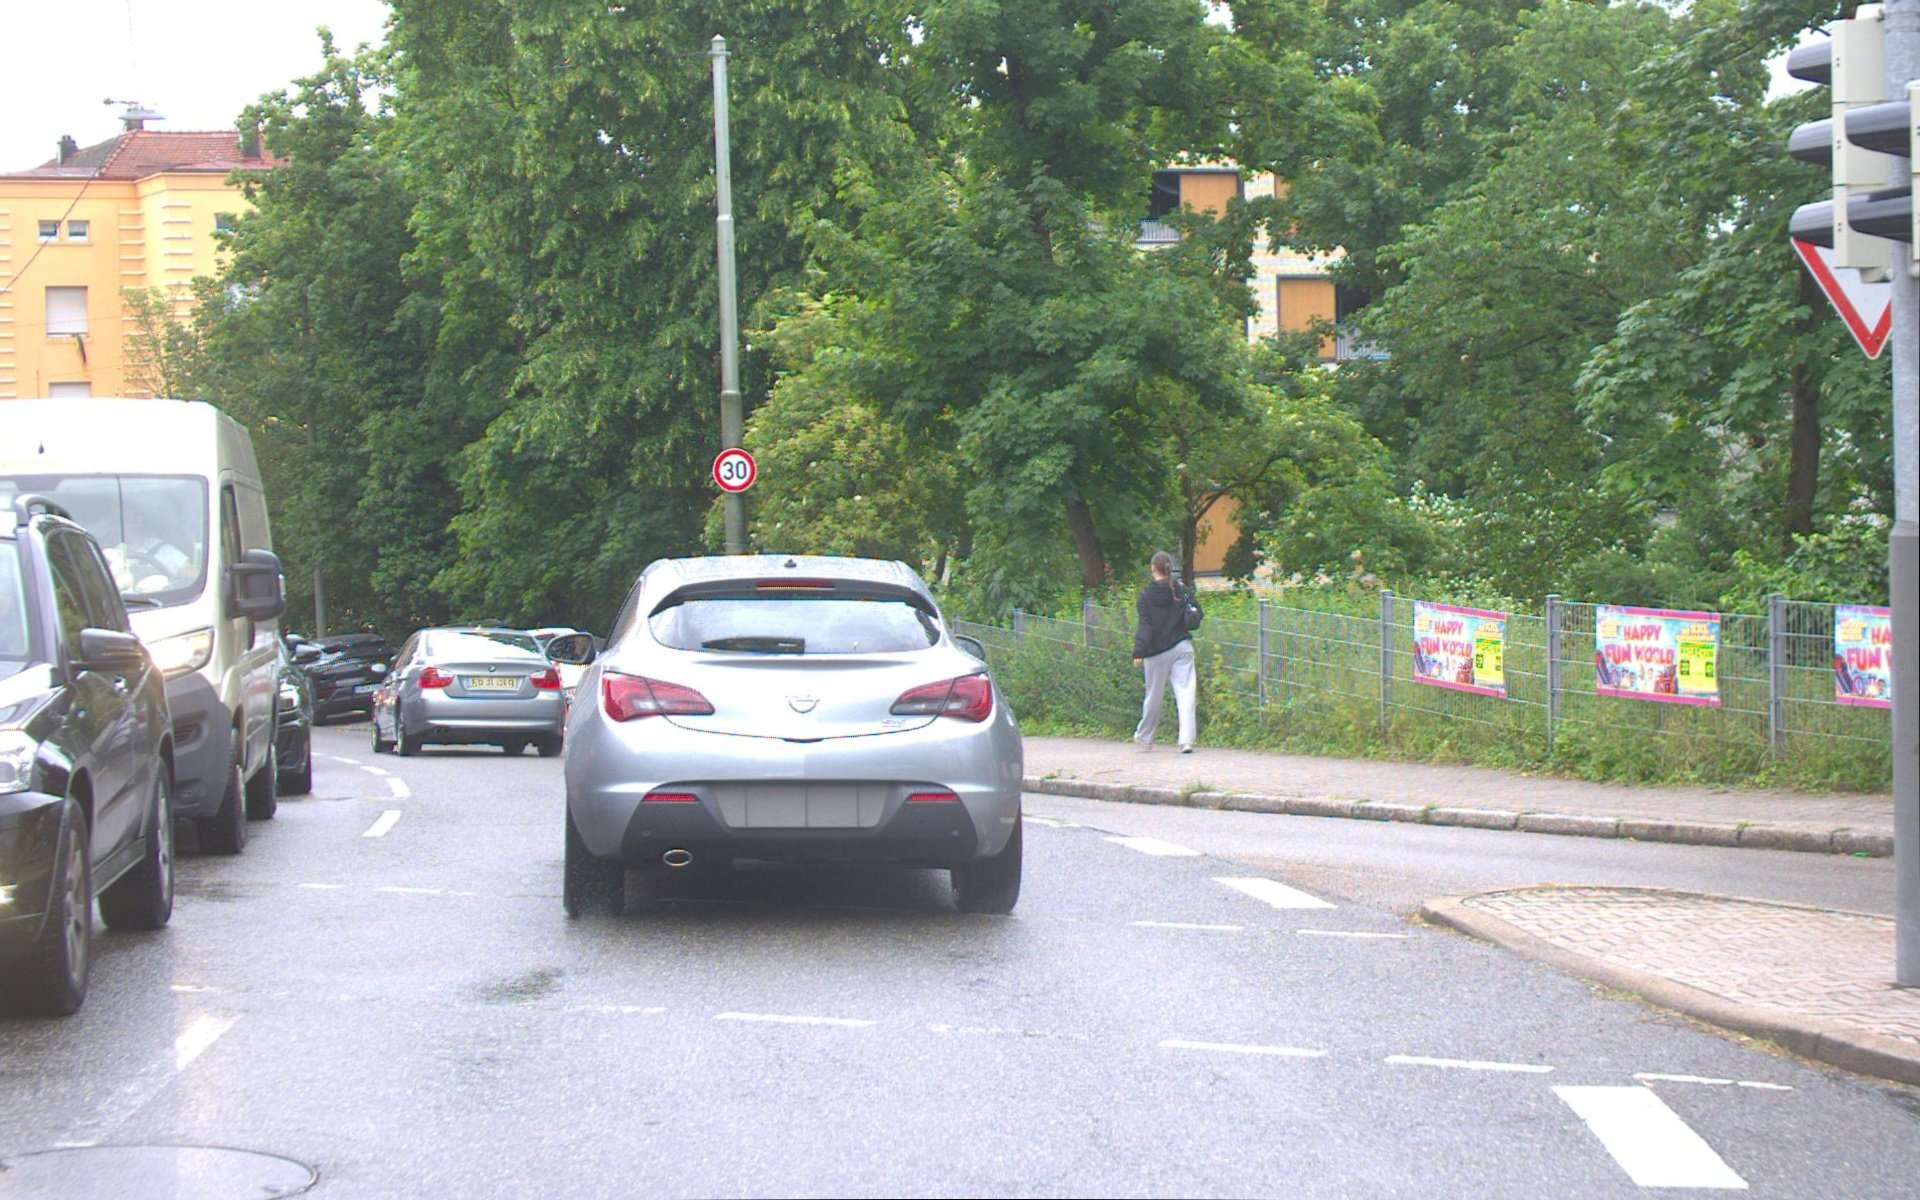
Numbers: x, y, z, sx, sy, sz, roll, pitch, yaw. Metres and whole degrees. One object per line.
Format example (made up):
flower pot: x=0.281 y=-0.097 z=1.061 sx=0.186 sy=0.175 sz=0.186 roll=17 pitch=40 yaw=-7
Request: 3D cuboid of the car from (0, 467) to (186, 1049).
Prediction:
car: x=-3.769 y=0.421 z=11.777 sx=1.821 sy=1.646 sz=4.347 roll=0 pitch=1 yaw=-8

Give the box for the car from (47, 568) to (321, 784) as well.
car: x=-5.856 y=0.545 z=25.906 sx=1.814 sy=1.425 sz=4.001 roll=-2 pitch=0 yaw=-13

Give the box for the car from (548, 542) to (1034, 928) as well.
car: x=-0.834 y=0.479 z=14.974 sx=1.814 sy=1.425 sz=4.001 roll=-1 pitch=1 yaw=-6

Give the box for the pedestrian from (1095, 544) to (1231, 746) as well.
pedestrian: x=1.681 y=0.369 z=28.609 sx=0.765 sy=1.600 sz=0.966 roll=-4 pitch=0 yaw=-15

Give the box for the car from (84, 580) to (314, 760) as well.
car: x=-7.412 y=0.649 z=33.181 sx=1.874 sy=1.569 sz=4.587 roll=-1 pitch=0 yaw=-16

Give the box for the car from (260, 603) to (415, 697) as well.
car: x=-11.998 y=0.987 z=66.063 sx=1.975 sy=1.604 sz=4.485 roll=-4 pitch=0 yaw=-22

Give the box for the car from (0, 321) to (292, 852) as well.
car: x=-4.979 y=-0.043 z=19.311 sx=2.117 sy=2.537 sz=5.541 roll=-2 pitch=0 yaw=-9

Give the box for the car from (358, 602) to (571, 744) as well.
car: x=-5.483 y=0.807 z=37.702 sx=1.775 sy=1.425 sz=3.786 roll=-2 pitch=-1 yaw=-16

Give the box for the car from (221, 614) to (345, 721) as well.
car: x=-9.514 y=0.921 z=48.180 sx=1.382 sy=1.407 sz=3.457 roll=-1 pitch=0 yaw=-16

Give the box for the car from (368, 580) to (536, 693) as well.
car: x=-8.472 y=0.599 z=56.980 sx=1.821 sy=1.677 sz=4.804 roll=-4 pitch=1 yaw=-19

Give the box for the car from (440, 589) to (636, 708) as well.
car: x=-6.322 y=0.751 z=51.137 sx=1.815 sy=1.490 sz=4.001 roll=-7 pitch=1 yaw=-21

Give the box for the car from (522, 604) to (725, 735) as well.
car: x=-4.097 y=0.826 z=41.355 sx=1.649 sy=1.400 sz=3.814 roll=-3 pitch=0 yaw=-17
